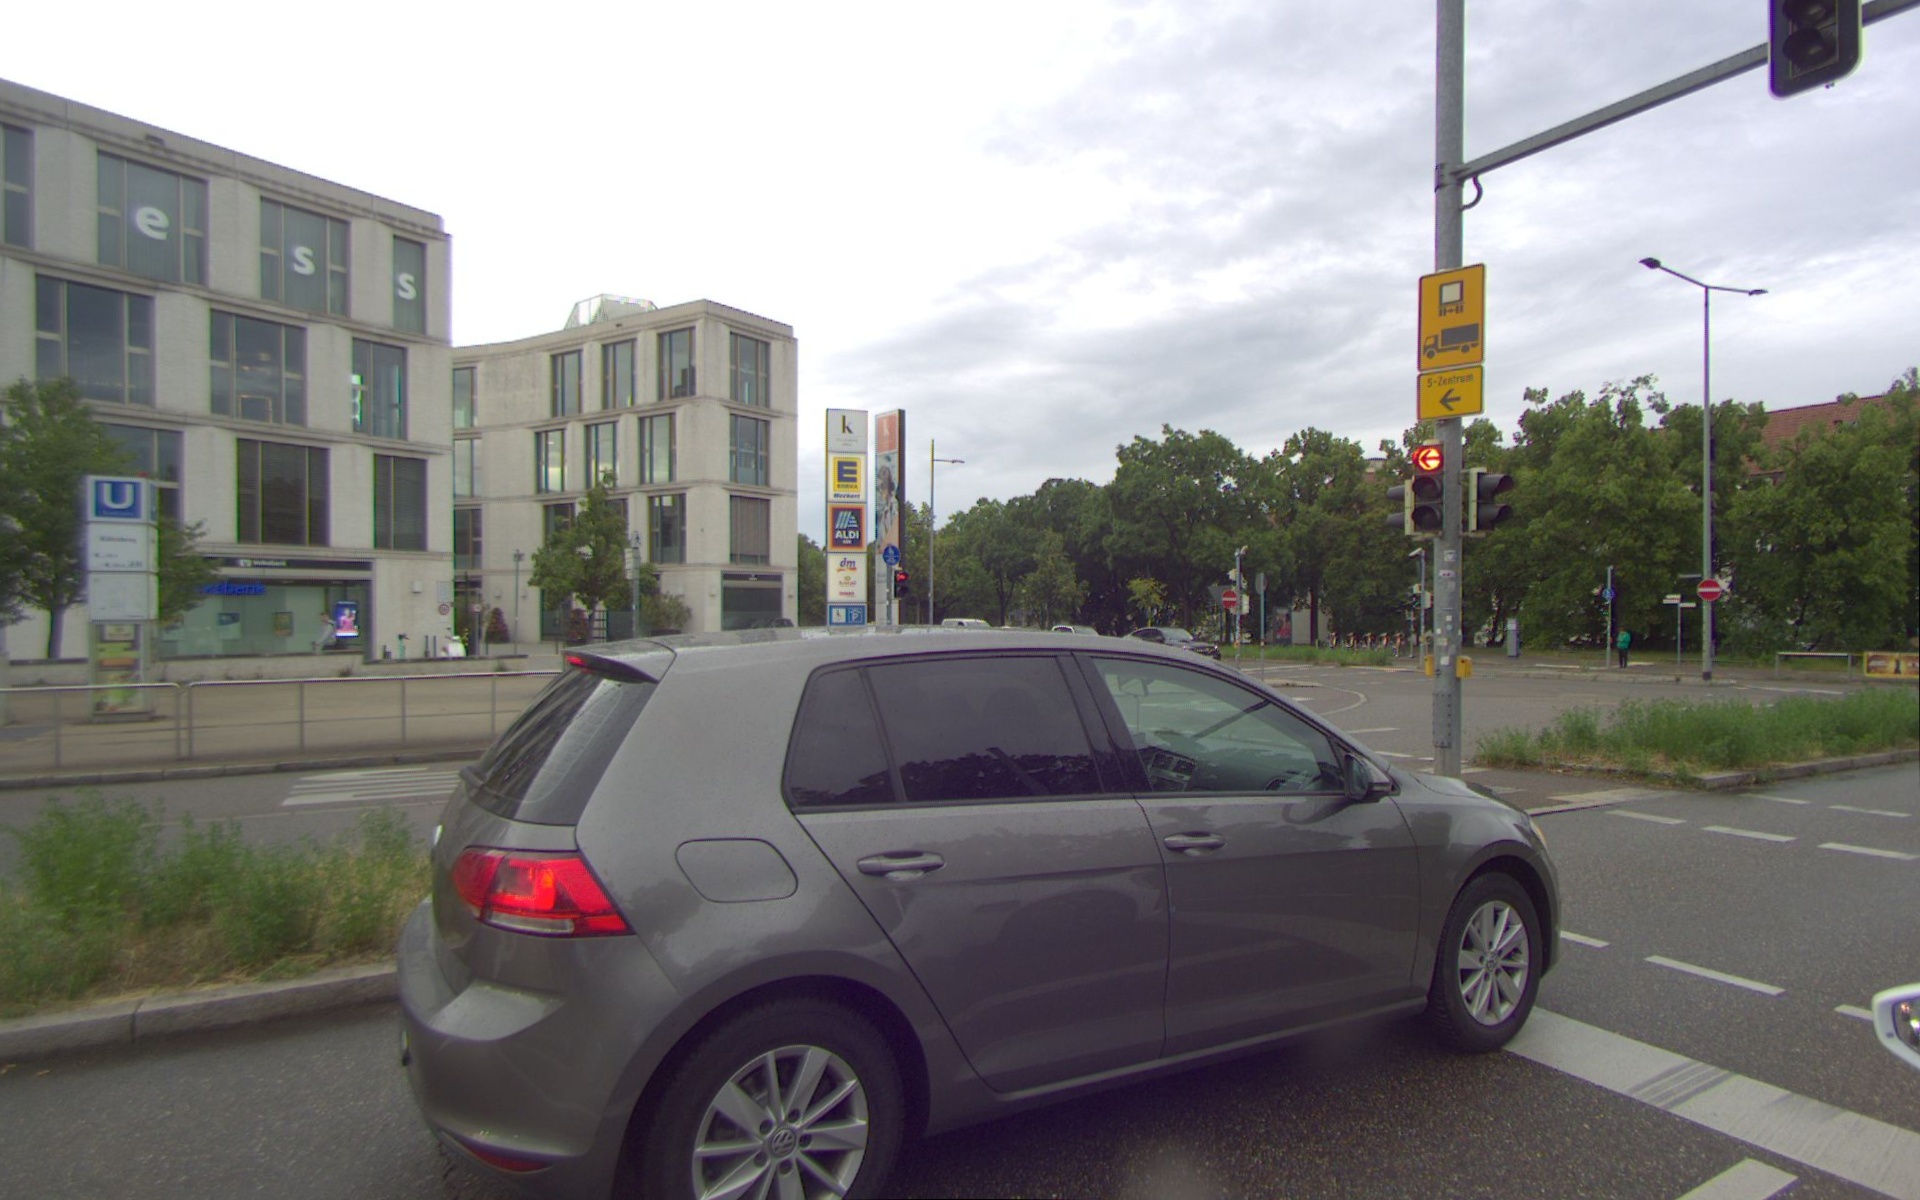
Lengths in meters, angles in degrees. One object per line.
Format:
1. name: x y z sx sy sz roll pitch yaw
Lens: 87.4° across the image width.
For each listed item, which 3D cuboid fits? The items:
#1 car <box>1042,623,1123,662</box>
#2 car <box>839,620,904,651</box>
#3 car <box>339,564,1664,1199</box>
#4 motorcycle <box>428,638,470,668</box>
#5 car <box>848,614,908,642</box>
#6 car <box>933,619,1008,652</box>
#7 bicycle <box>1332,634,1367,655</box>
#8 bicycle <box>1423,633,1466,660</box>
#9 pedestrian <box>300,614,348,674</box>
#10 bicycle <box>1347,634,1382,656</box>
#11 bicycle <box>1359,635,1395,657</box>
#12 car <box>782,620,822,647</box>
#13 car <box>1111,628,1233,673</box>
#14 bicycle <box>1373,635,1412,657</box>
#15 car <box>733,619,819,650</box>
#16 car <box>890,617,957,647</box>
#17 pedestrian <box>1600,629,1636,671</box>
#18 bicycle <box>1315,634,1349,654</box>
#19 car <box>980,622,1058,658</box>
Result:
1. car: 5.563 1.909 46.029 1.976 1.615 3.536 2 0 -30
2. car: -5.323 2.111 59.700 1.976 1.615 4.855 2 0 -29
3. car: 0.398 0.753 3.547 4.325 1.501 1.807 2 -1 -30
4. motorcycle: -14.214 1.465 27.934 1.081 0.750 0.522 2 0 29
5. car: -5.453 1.816 66.114 1.977 1.615 4.852 2 0 -31
6. car: 0.538 1.945 55.407 1.976 1.615 4.855 2 0 -29
7. bicycle: 20.944 2.388 54.038 1.959 1.085 0.649 2 0 -30
8. bicycle: 23.765 2.301 49.265 1.959 1.266 0.986 2 0 -30
9. pedestrian: -17.663 1.211 27.902 0.752 1.626 0.911 0 -1 37
10. bicycle: 21.377 2.377 53.037 1.959 1.085 0.649 2 0 -30
11. bicycle: 21.678 2.394 52.177 1.959 1.085 0.649 2 0 -30
12. car: -12.715 2.665 80.634 1.976 2.040 3.969 1 -1 -29
13. car: 8.401 1.965 40.243 1.976 1.520 5.001 2 0 -29
14. bicycle: 22.249 2.360 51.653 1.959 1.085 0.798 2 0 -30
15. car: -9.181 1.716 50.319 1.968 1.483 3.985 0 -2 37
16. car: -2.251 1.886 60.395 1.976 1.615 4.855 2 0 -29
17. pedestrian: 27.934 2.122 42.663 0.933 1.750 0.919 2 0 -26
18. bicycle: 20.273 2.402 54.767 1.959 1.085 0.649 2 0 -30
19. car: 2.949 1.995 50.911 1.976 1.615 4.185 2 0 -29
